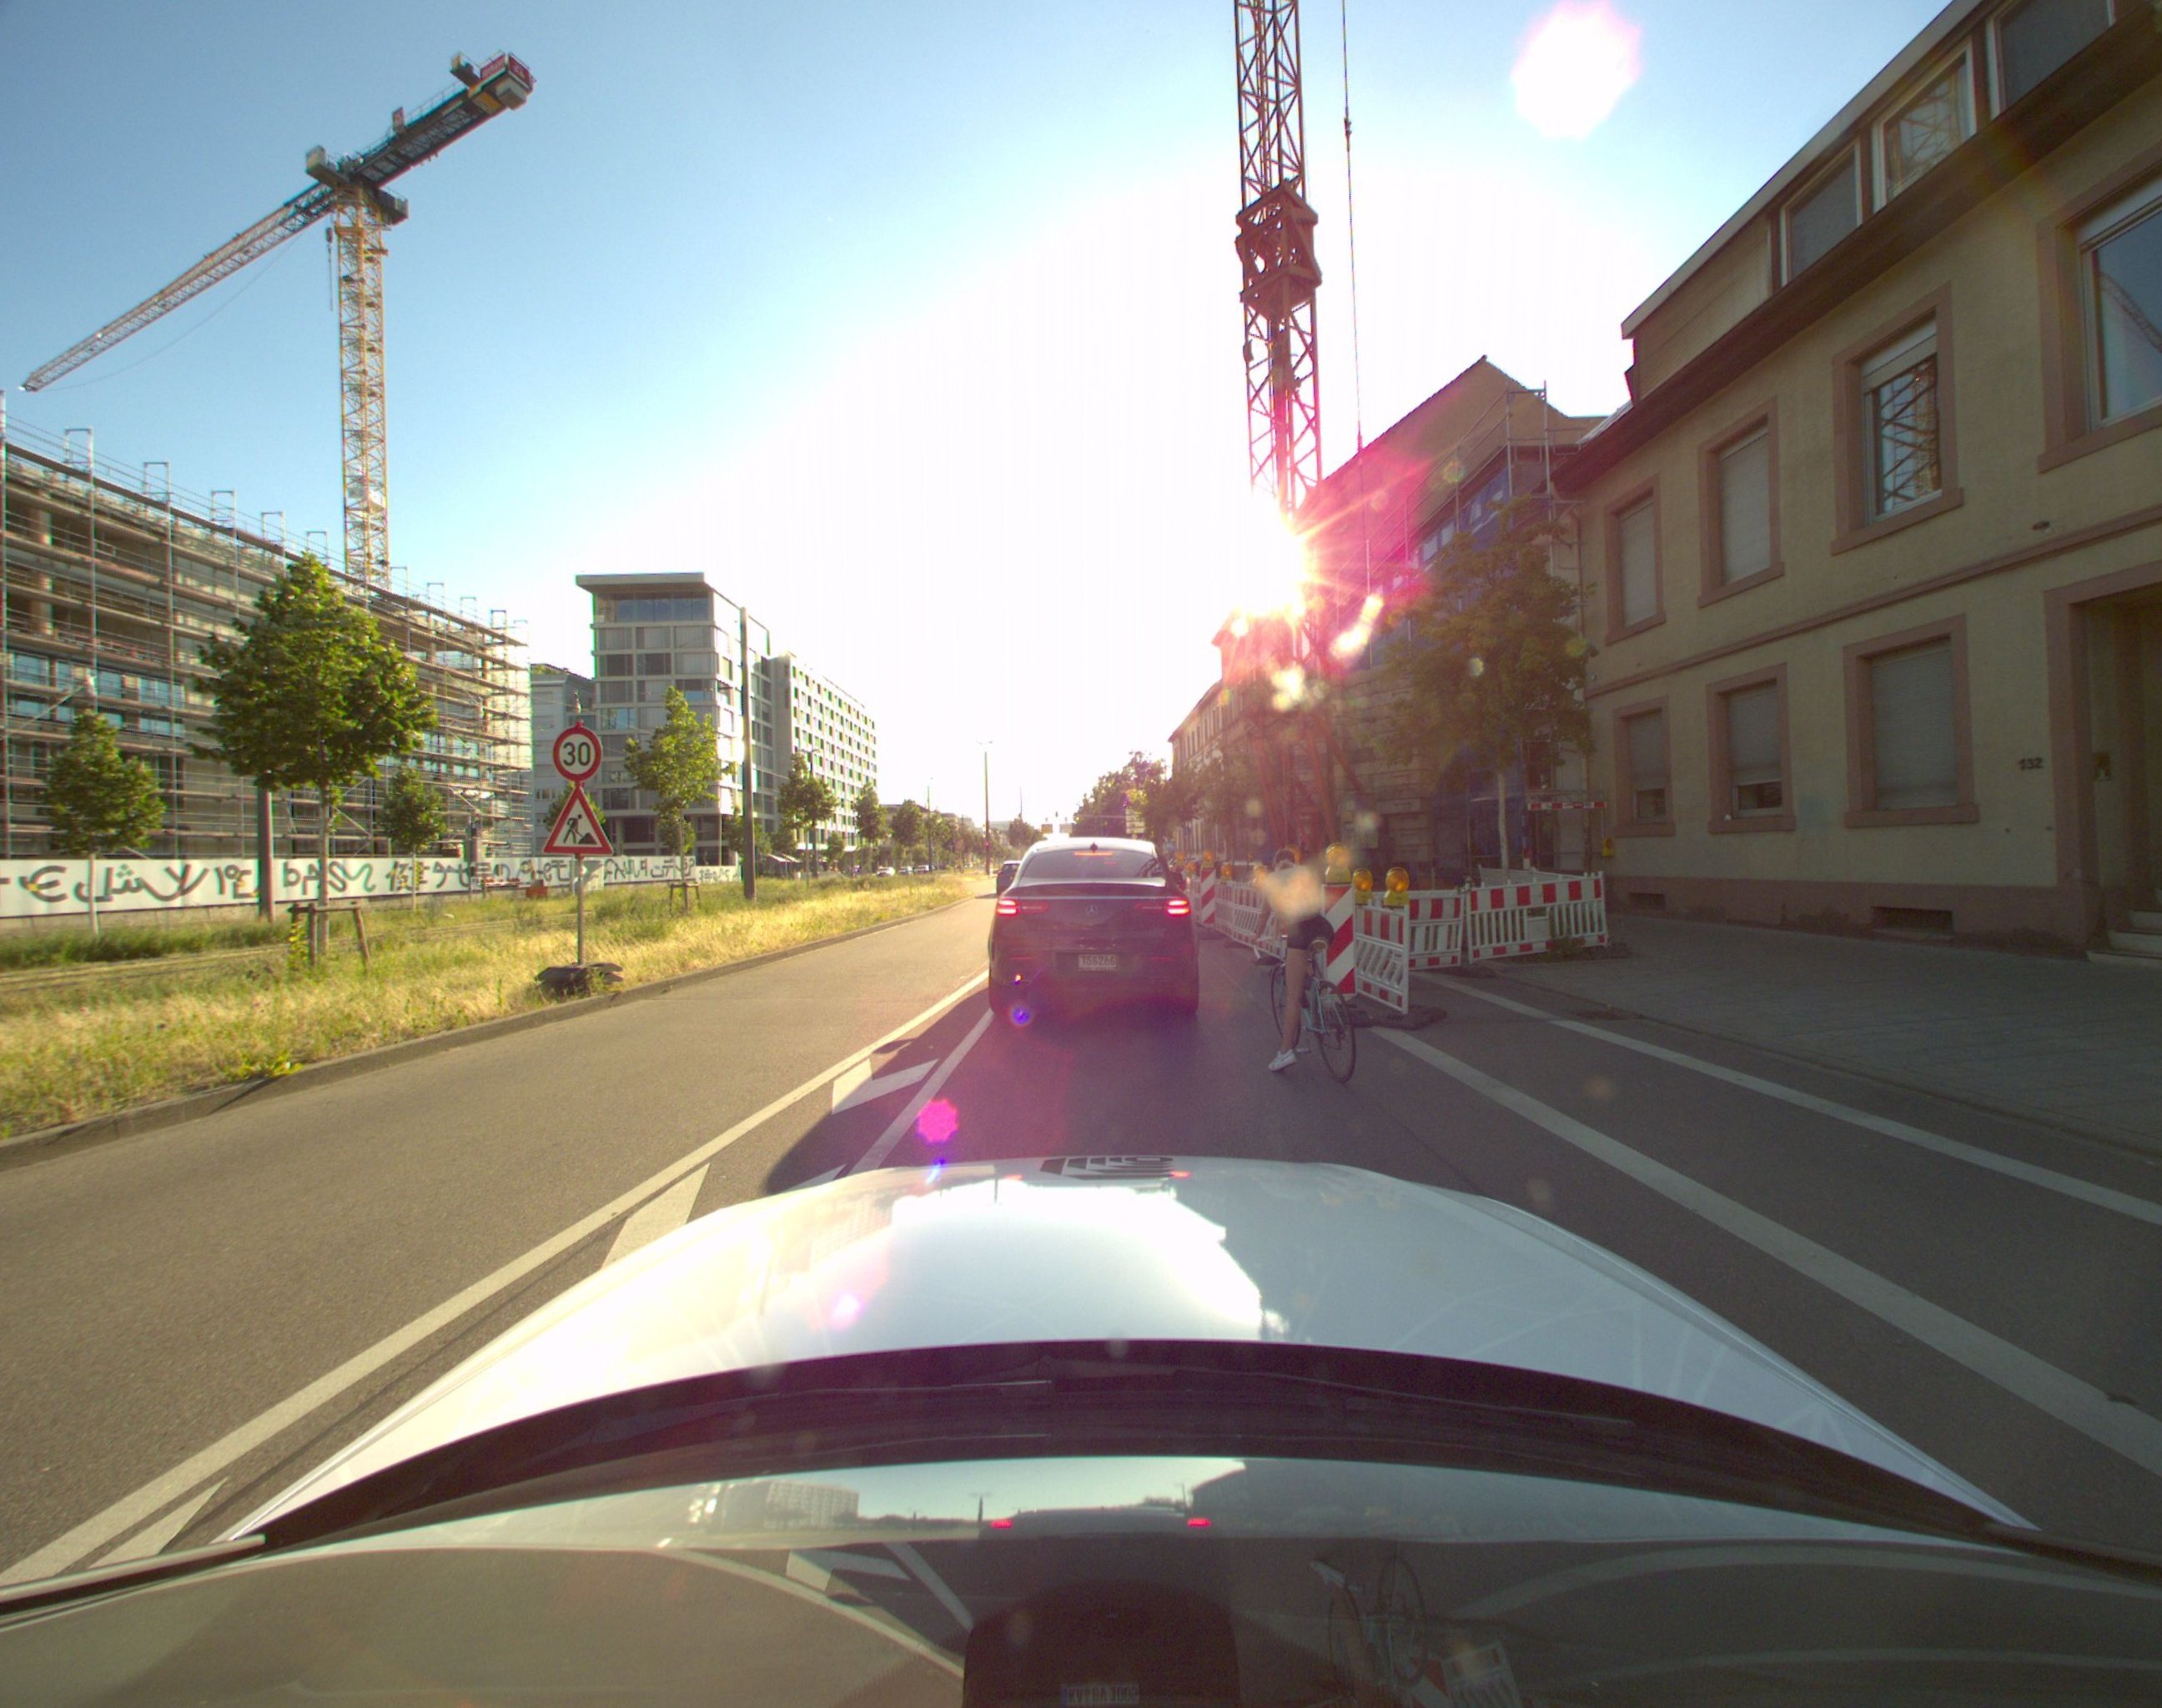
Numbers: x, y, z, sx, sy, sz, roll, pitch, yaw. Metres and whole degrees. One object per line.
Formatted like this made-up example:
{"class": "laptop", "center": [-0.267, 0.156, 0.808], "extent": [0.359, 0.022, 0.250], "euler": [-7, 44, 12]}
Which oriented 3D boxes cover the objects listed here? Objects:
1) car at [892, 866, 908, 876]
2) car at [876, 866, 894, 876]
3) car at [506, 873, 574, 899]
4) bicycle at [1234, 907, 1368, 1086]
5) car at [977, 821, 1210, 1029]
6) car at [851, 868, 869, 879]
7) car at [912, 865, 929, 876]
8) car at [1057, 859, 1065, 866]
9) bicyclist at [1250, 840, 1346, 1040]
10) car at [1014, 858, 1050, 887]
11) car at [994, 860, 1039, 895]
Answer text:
{"class": "car", "center": [-28.412, 2.630, 128.068], "extent": [1.703, 1.442, 3.581], "euler": [0, -1, 0]}
{"class": "car", "center": [-28.031, 2.400, 116.446], "extent": [1.703, 1.442, 3.581], "euler": [0, -1, 0]}
{"class": "car", "center": [-32.556, 1.896, 49.078], "extent": [1.703, 1.442, 3.581], "euler": [0, -1, 0]}
{"class": "bicycle", "center": [1.583, 0.973, 6.123], "extent": [0.511, 1.052, 1.724], "euler": [0, -1, -1]}
{"class": "car", "center": [0.165, 0.623, 8.986], "extent": [1.986, 1.772, 4.001], "euler": [0, -1, 2]}
{"class": "car", "center": [-32.180, 2.833, 118.541], "extent": [1.703, 1.442, 3.581], "euler": [0, -1, 0]}
{"class": "car", "center": [-22.692, 2.350, 115.528], "extent": [1.703, 1.442, 3.581], "euler": [0, -1, 0]}
{"class": "car", "center": [-4.535, 1.906, 184.425], "extent": [1.703, 1.442, 3.581], "euler": [0, -1, 0]}
{"class": "bicyclist", "center": [1.581, 0.602, 6.001], "extent": [0.521, 1.395, 0.614], "euler": [0, -1, -1]}
{"class": "car", "center": [-2.541, 0.966, 43.060], "extent": [1.703, 1.442, 3.581], "euler": [0, -1, 0]}
{"class": "car", "center": [-2.771, 0.984, 35.634], "extent": [1.703, 1.442, 3.581], "euler": [0, -1, 0]}
